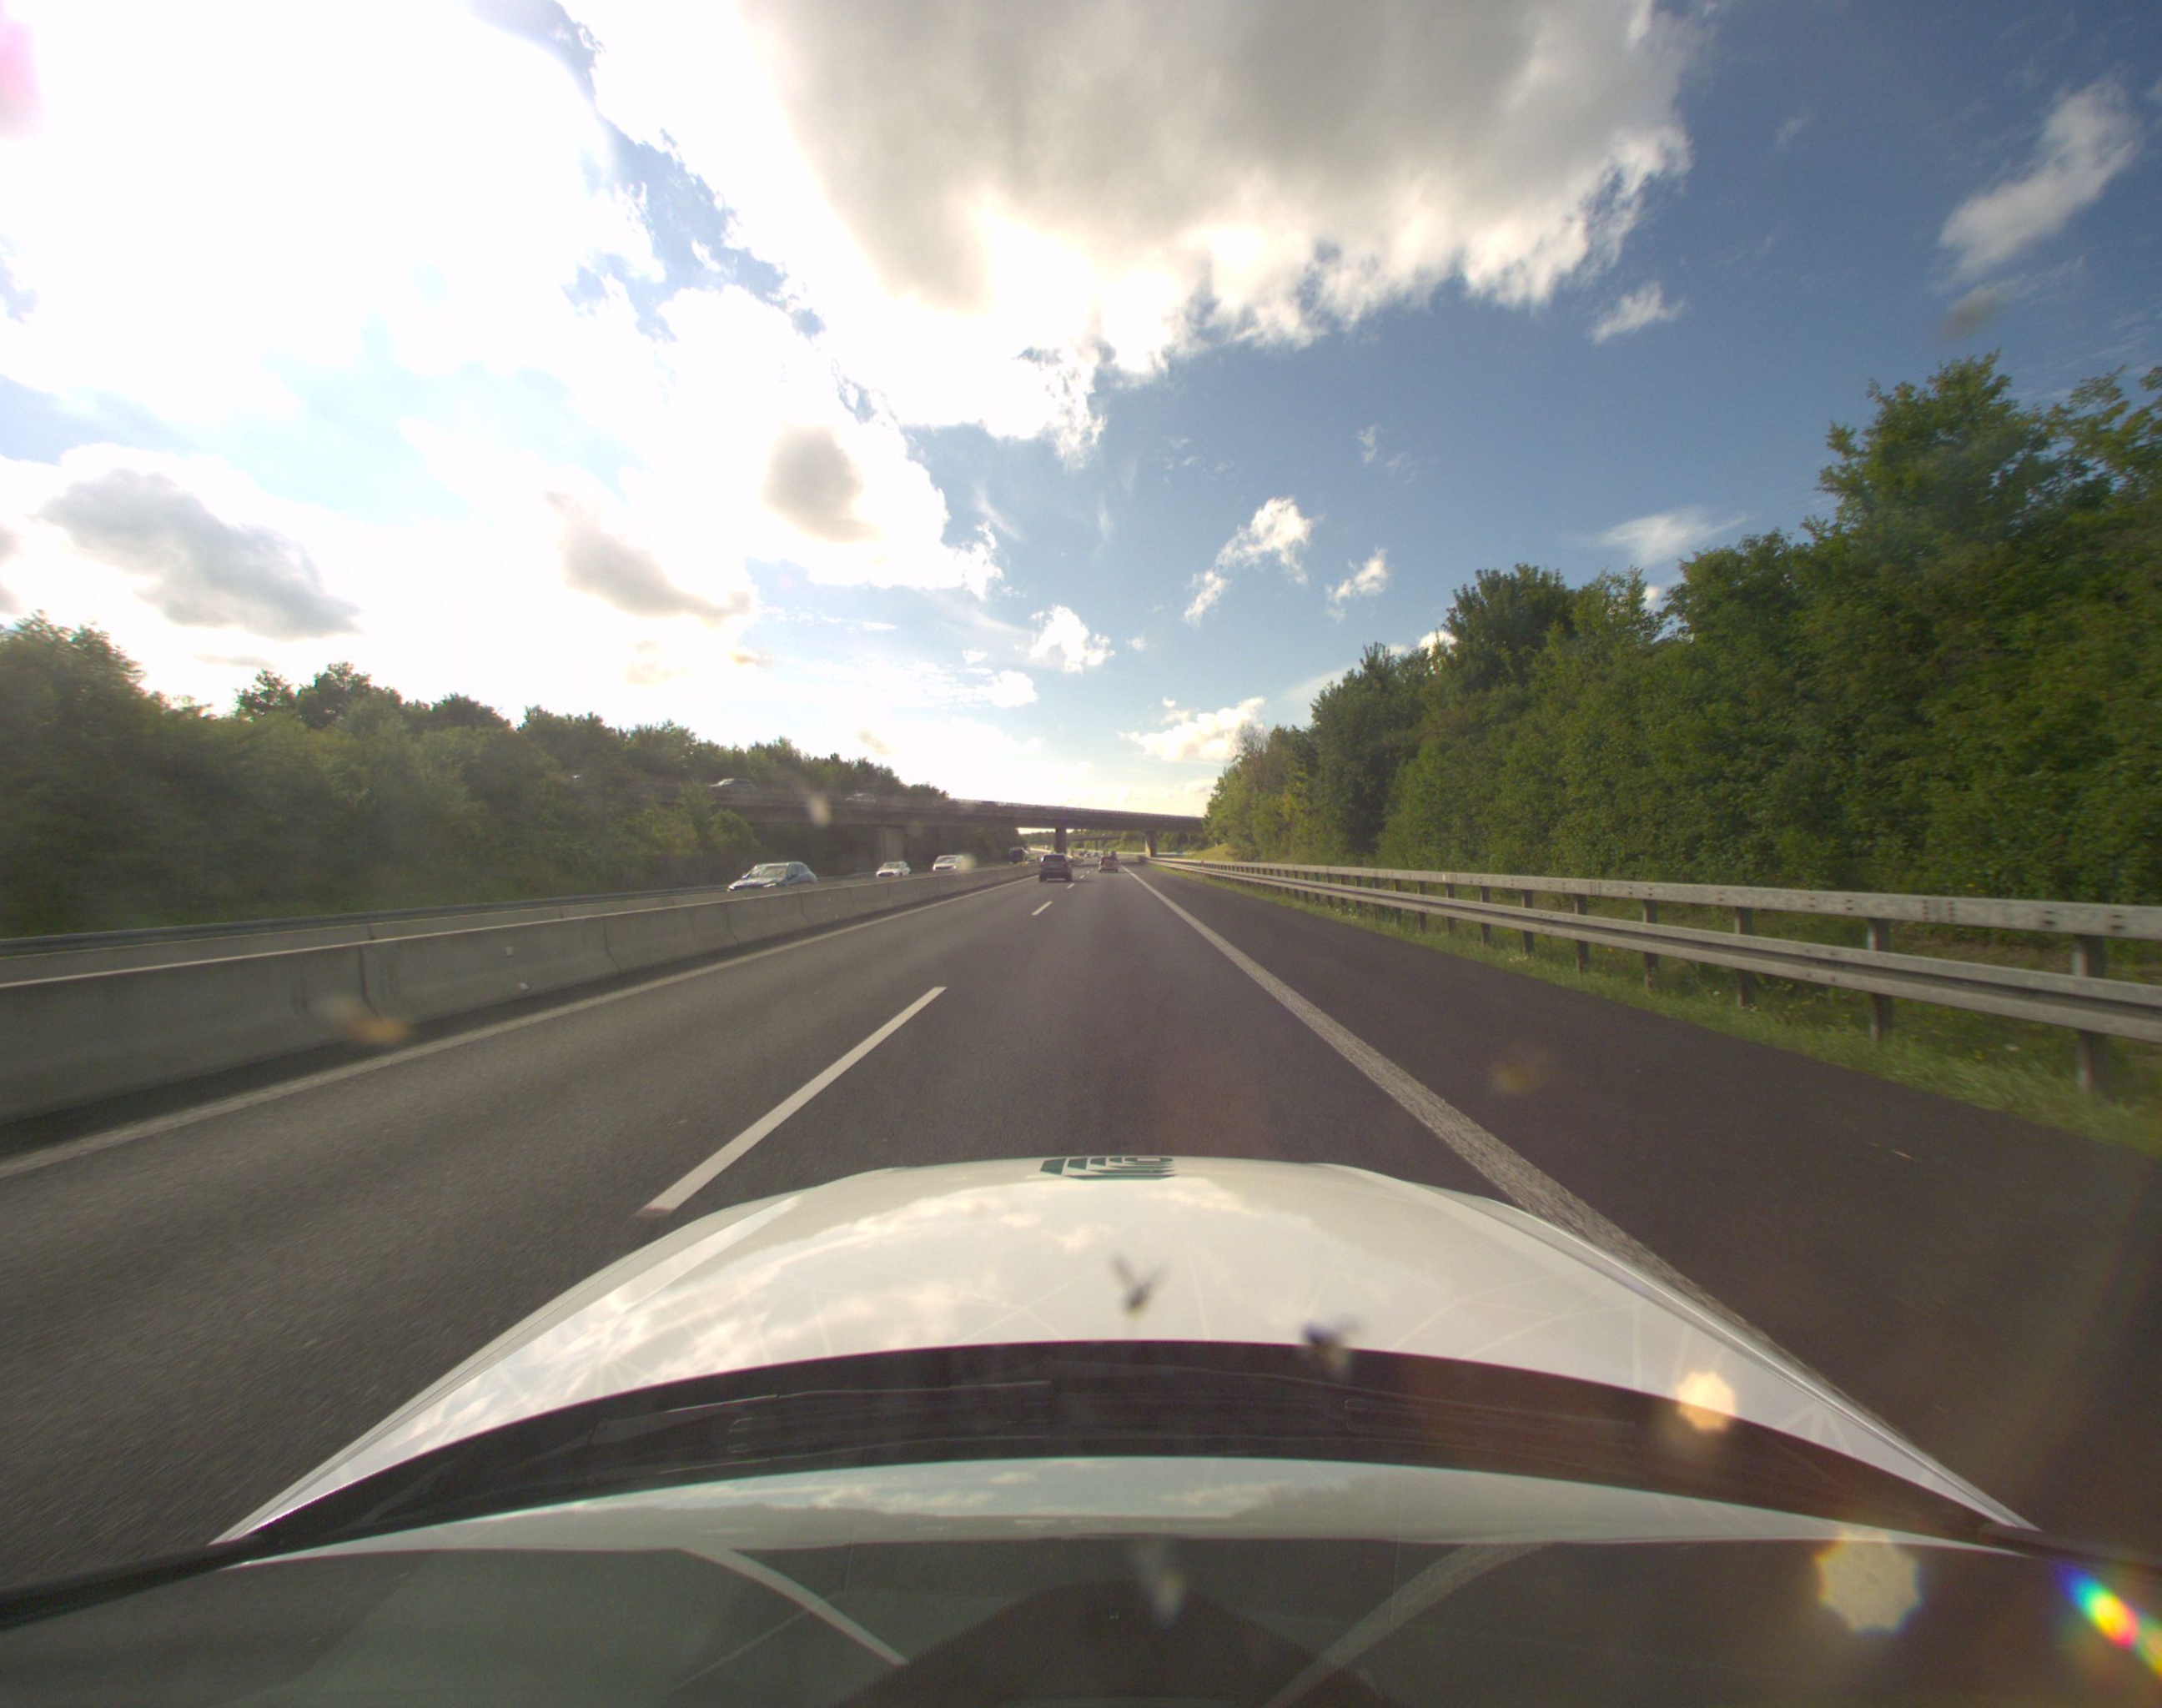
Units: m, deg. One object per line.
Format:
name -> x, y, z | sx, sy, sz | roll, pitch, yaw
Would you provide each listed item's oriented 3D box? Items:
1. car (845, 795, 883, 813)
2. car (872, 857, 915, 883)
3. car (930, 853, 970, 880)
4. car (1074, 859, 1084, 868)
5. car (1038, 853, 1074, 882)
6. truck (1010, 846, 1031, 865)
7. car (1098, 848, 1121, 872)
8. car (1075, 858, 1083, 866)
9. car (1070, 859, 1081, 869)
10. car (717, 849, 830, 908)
car -> -26.371, -6.077, 99.176 | 1.977, 1.896, 4.846 | -3, 0, 19
car -> -14.523, 1.217, 63.280 | 1.986, 1.896, 4.824 | -3, 0, 2
car -> -10.190, 0.966, 63.678 | 1.986, 1.896, 5.191 | -3, 0, 2
car -> -0.444, 2.266, 189.444 | 1.986, 2.013, 4.002 | -3, 0, 2
car -> -1.476, 0.792, 49.606 | 1.742, 1.630, 3.612 | -3, 0, 4
truck -> -11.141, 0.291, 151.093 | 2.666, 3.446, 9.832 | -3, 0, 2
car -> 2.594, 0.531, 74.488 | 1.986, 2.081, 4.002 | -3, 0, 2
car -> -0.503, 2.122, 210.497 | 1.986, 2.013, 4.002 | -3, 0, 2
car -> -1.212, 2.241, 178.231 | 1.986, 2.013, 4.002 | -3, 0, 2
car -> -11.198, 0.847, 30.102 | 1.986, 1.896, 5.142 | -3, 0, 2
